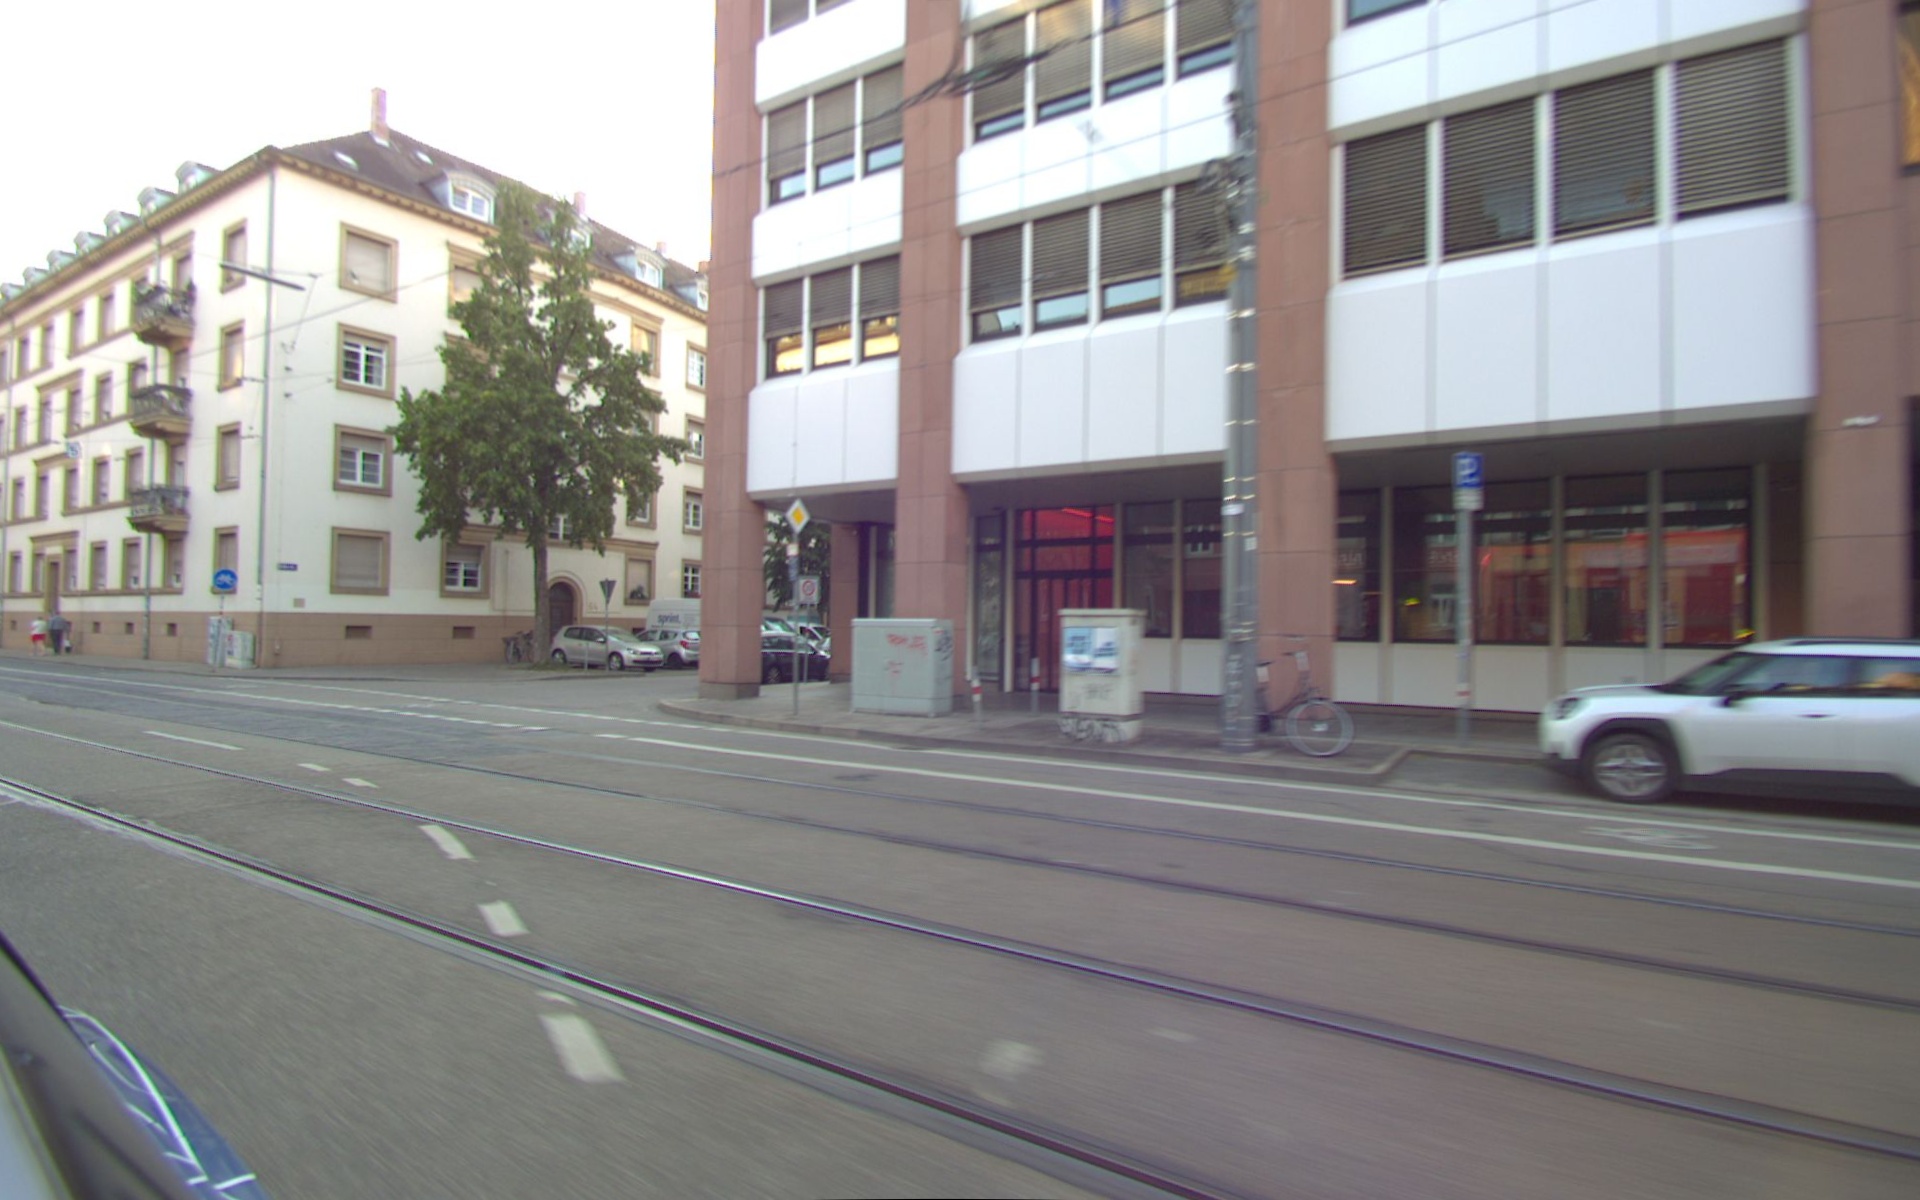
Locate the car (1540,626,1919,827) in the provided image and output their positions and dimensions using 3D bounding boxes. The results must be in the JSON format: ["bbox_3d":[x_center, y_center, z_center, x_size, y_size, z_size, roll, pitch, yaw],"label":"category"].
[{"bbox_3d":[7.689,1.040,9.080,4.193,1.567,1.702,-1,-1,35],"label":"car"}]

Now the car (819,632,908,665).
[{"bbox_3d":[-4.743,2.366,49.719,3.974,1.530,1.811,0,-3,23],"label":"car"}]

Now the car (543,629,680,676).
[{"bbox_3d":[-11.659,1.731,33.892,4.157,1.433,1.982,0,-2,26],"label":"car"}]

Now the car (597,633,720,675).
[{"bbox_3d":[-10.940,1.930,36.668,4.157,1.433,1.779,0,-2,26],"label":"car"}]

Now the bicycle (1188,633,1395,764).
[{"bbox_3d":[3.823,1.092,11.849,2.258,1.388,0.602,-1,-3,42],"label":"bicycle"}]

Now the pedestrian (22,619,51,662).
[{"bbox_3d":[-35.088,1.520,38.449,0.808,1.622,0.586,-1,-2,32],"label":"pedestrian"}]

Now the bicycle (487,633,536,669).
[{"bbox_3d":[-15.902,1.795,35.923,0.599,1.222,1.675,0,-2,16],"label":"bicycle"}]

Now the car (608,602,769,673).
[{"bbox_3d":[-10.497,1.415,39.023,6.097,2.609,2.079,0,-2,26],"label":"car"}]

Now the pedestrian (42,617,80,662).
[{"bbox_3d":[-34.606,1.508,38.957,0.978,1.714,0.789,-1,-2,32],"label":"pedestrian"}]

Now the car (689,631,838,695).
[{"bbox_3d":[-5.204,1.661,27.325,1.914,1.516,3.963,1,-2,27],"label":"car"}]

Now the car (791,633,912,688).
[{"bbox_3d":[-3.329,1.876,31.861,1.914,1.516,3.963,1,-2,27],"label":"car"}]
